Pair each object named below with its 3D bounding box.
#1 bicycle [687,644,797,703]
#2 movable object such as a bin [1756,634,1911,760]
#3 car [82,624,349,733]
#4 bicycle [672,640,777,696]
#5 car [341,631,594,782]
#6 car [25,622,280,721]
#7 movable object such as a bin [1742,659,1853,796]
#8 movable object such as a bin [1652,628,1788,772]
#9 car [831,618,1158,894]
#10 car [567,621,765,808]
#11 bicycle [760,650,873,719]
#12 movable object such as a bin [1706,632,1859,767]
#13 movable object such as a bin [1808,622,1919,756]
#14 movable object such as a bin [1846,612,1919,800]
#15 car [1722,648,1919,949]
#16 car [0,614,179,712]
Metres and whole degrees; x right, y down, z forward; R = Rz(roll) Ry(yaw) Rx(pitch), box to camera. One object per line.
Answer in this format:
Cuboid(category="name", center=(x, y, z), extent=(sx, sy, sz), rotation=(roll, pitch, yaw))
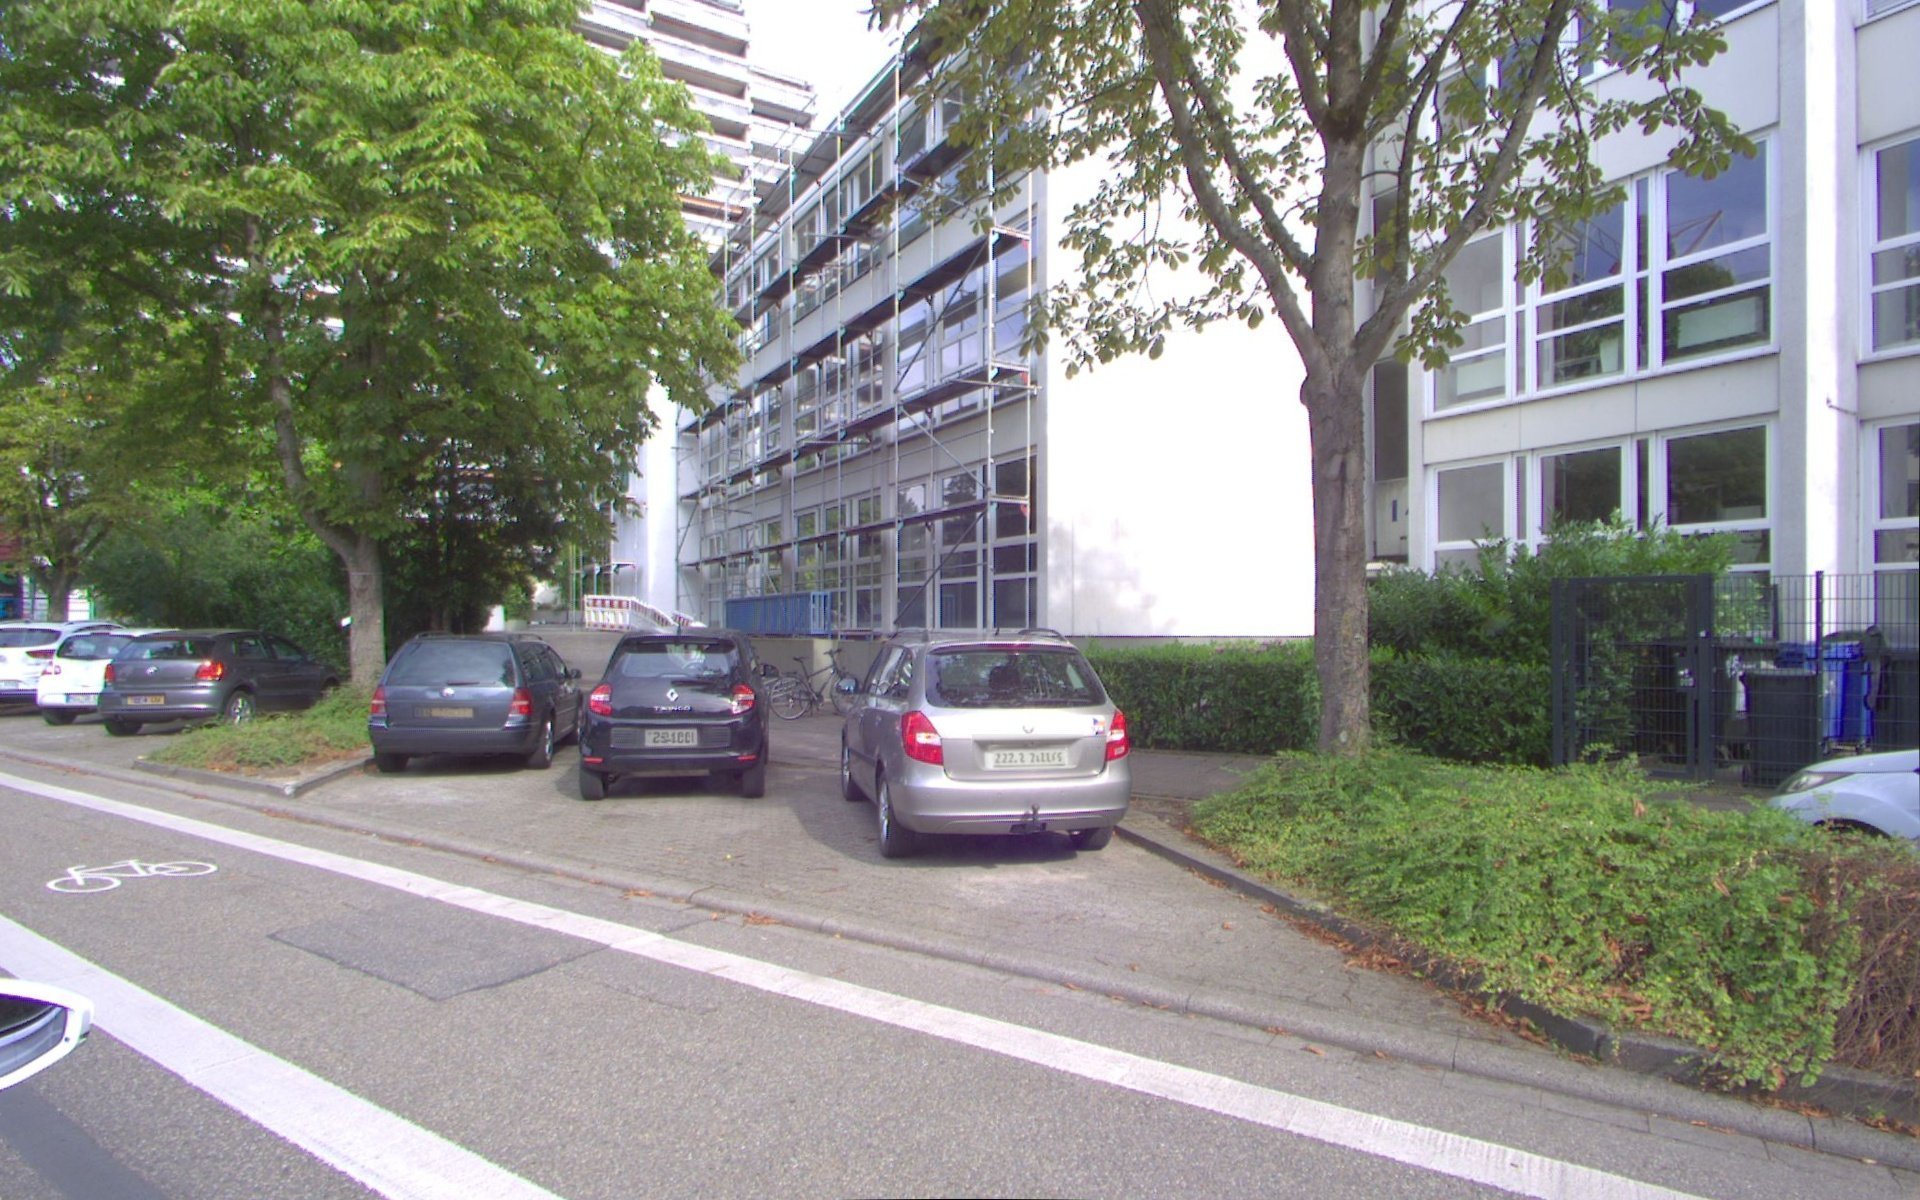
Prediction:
Cuboid(category="bicycle", center=(-4.109, 1.372, 18.956), extent=(1.949, 1.057, 0.591), rotation=(1, -1, -30))
Cuboid(category="movable object such as a bin", center=(10.384, 1.098, 11.915), extent=(1.160, 1.388, 1.171), rotation=(1, -1, -36))
Cuboid(category="car", center=(-11.093, 1.106, 15.266), extent=(1.650, 1.438, 3.647), rotation=(0, -2, -6))
Cuboid(category="bicycle", center=(-4.629, 1.322, 19.691), extent=(1.944, 1.057, 0.593), rotation=(1, -1, -20))
Cuboid(category="car", center=(-5.518, 1.085, 11.795), extent=(1.783, 1.433, 4.166), rotation=(0, -2, -14))
Cuboid(category="car", center=(-13.432, 1.135, 16.967), extent=(1.650, 1.493, 3.647), rotation=(0, -2, -6))
Cuboid(category="movable object such as a bin", center=(7.462, 1.105, 8.956), extent=(0.734, 1.119, 0.781), rotation=(0, -1, 38))
Cuboid(category="movable object such as a bin", center=(8.078, 1.018, 10.648), extent=(1.012, 1.425, 0.906), rotation=(1, -1, -36))
Cuboid(category="car", center=(-0.019, 0.957, 7.824), extent=(1.566, 1.557, 4.049), rotation=(1, -2, -13))
Cuboid(category="car", center=(-2.813, 1.011, 10.199), extent=(1.566, 1.557, 3.416), rotation=(1, -1, -10))
Cuboid(category="bicycle", center=(-2.371, 1.382, 16.602), extent=(1.813, 1.057, 0.451), rotation=(0, 0, -29))
Cuboid(category="movable object such as a bin", center=(9.239, 1.071, 11.261), extent=(1.050, 1.409, 1.111), rotation=(1, -1, -36))
Cuboid(category="movable object such as a bin", center=(11.567, 1.072, 12.576), extent=(1.160, 1.588, 1.171), rotation=(1, -1, -36))
Cuboid(category="movable object such as a bin", center=(8.599, 0.887, 8.571), extent=(1.397, 1.549, 1.322), rotation=(-1, -1, 37))
Cuboid(category="car", center=(5.569, 0.940, 4.025), extent=(1.604, 1.411, 3.858), rotation=(1, -2, -13))
Cuboid(category="car", center=(-16.289, 1.102, 18.378), extent=(1.651, 1.623, 3.644), rotation=(0, -2, -12))
